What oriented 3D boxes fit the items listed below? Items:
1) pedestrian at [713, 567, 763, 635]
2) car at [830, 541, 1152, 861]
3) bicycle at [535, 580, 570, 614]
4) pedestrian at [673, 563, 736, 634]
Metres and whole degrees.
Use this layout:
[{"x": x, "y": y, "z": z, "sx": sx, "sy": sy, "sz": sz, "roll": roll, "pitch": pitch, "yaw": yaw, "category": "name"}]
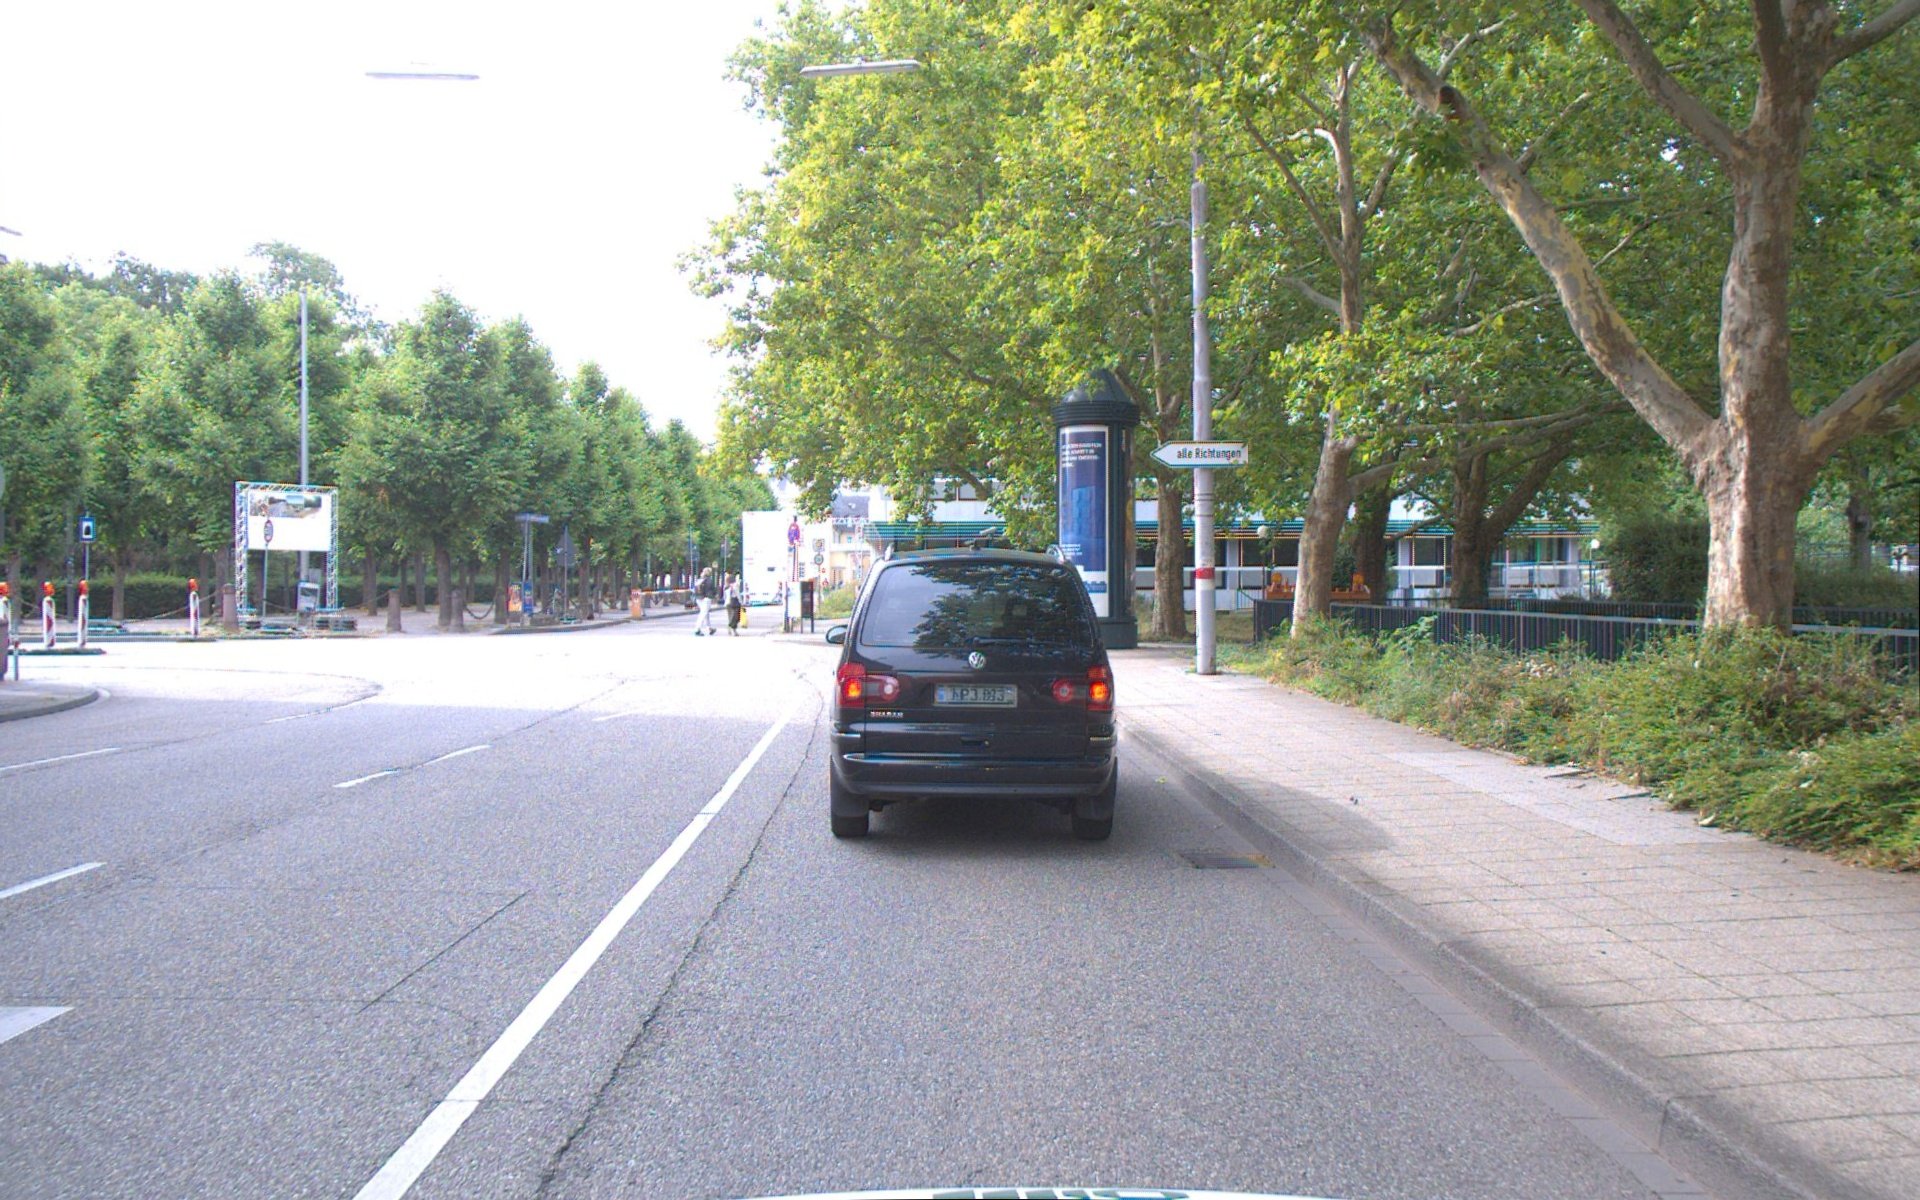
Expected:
[{"x": -5.621, "y": 0.020, "z": 41.882, "sx": 0.880, "sy": 1.670, "sz": 0.850, "roll": 2, "pitch": 1, "yaw": 34, "category": "pedestrian"}, {"x": 0.094, "y": 0.518, "z": 11.154, "sx": 1.757, "sy": 1.738, "sz": 4.129, "roll": -1, "pitch": 1, "yaw": -2, "category": "car"}, {"x": -14.353, "y": -0.130, "z": 58.189, "sx": 0.937, "sy": 1.129, "sz": 2.566, "roll": 1, "pitch": 1, "yaw": -19, "category": "bicycle"}, {"x": -6.518, "y": -0.035, "z": 42.203, "sx": 0.944, "sy": 1.772, "sz": 1.251, "roll": 2, "pitch": 1, "yaw": 37, "category": "pedestrian"}]
